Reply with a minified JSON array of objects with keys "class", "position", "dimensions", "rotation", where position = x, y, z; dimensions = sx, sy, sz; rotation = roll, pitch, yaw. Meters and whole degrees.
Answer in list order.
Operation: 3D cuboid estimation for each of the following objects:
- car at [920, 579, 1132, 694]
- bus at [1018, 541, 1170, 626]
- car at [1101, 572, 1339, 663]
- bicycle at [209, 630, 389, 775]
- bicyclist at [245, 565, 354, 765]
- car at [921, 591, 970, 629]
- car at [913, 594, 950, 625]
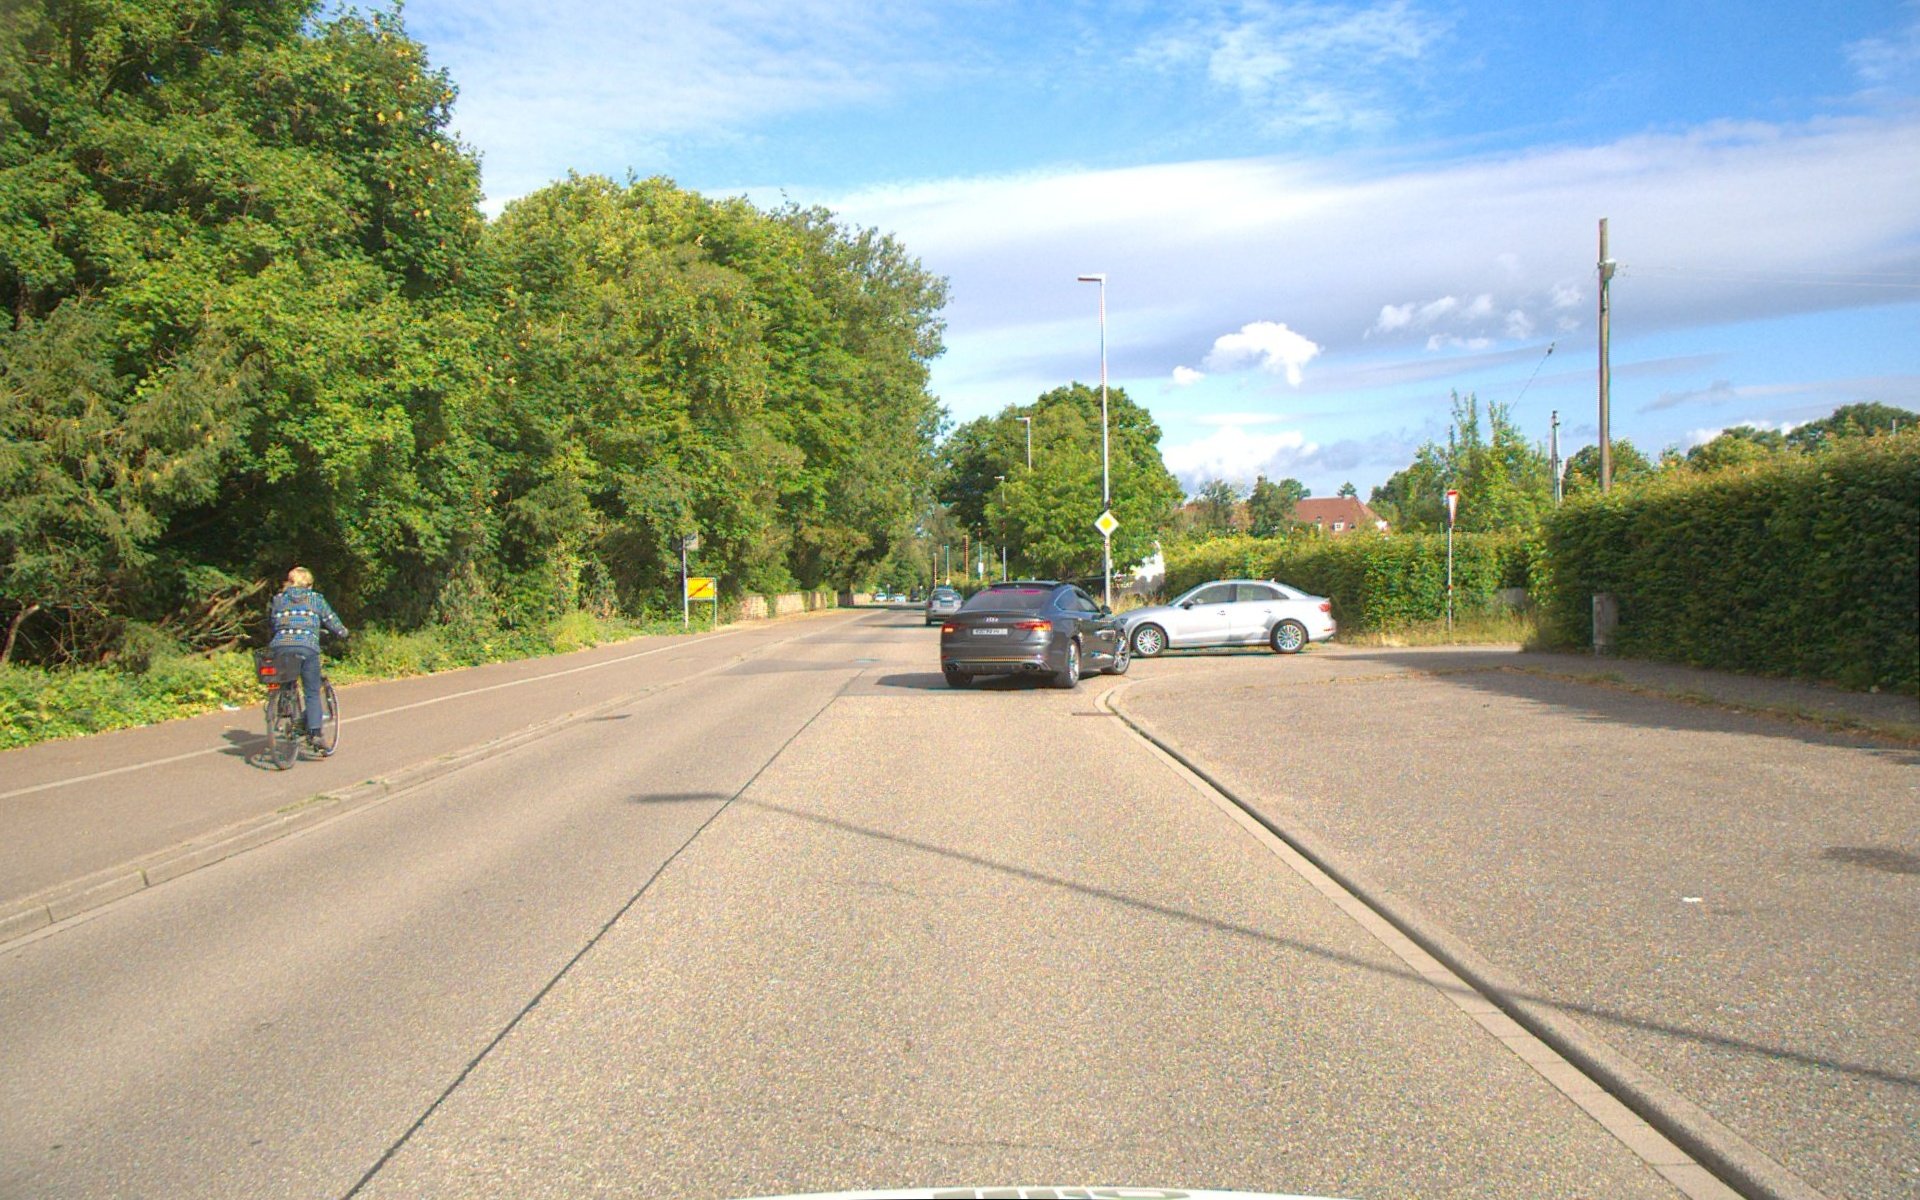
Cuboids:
[{"class":"car","position":[1.054,0.453,23.599],"dimensions":[1.925,1.459,4.338],"rotation":[0,1,18]},{"class":"bus","position":[4.940,-0.629,61.286],"dimensions":[5.259,2.794,2.067],"rotation":[-3,1,-4]},{"class":"car","position":[4.882,0.323,31.479],"dimensions":[4.270,1.468,1.934],"rotation":[-3,0,6]},{"class":"bicycle","position":[-5.809,0.861,14.691],"dimensions":[0.649,1.116,2.348],"rotation":[0,1,0]},{"class":"bicyclist","position":[-5.815,0.554,14.603],"dimensions":[0.596,1.706,0.883],"rotation":[0,0,0]},{"class":"car","position":[-0.602,0.368,65.901],"dimensions":[1.848,1.396,4.053],"rotation":[-2,0,-2]},{"class":"car","position":[-1.533,0.491,86.895],"dimensions":[1.848,1.490,4.053],"rotation":[-2,0,-2]}]
